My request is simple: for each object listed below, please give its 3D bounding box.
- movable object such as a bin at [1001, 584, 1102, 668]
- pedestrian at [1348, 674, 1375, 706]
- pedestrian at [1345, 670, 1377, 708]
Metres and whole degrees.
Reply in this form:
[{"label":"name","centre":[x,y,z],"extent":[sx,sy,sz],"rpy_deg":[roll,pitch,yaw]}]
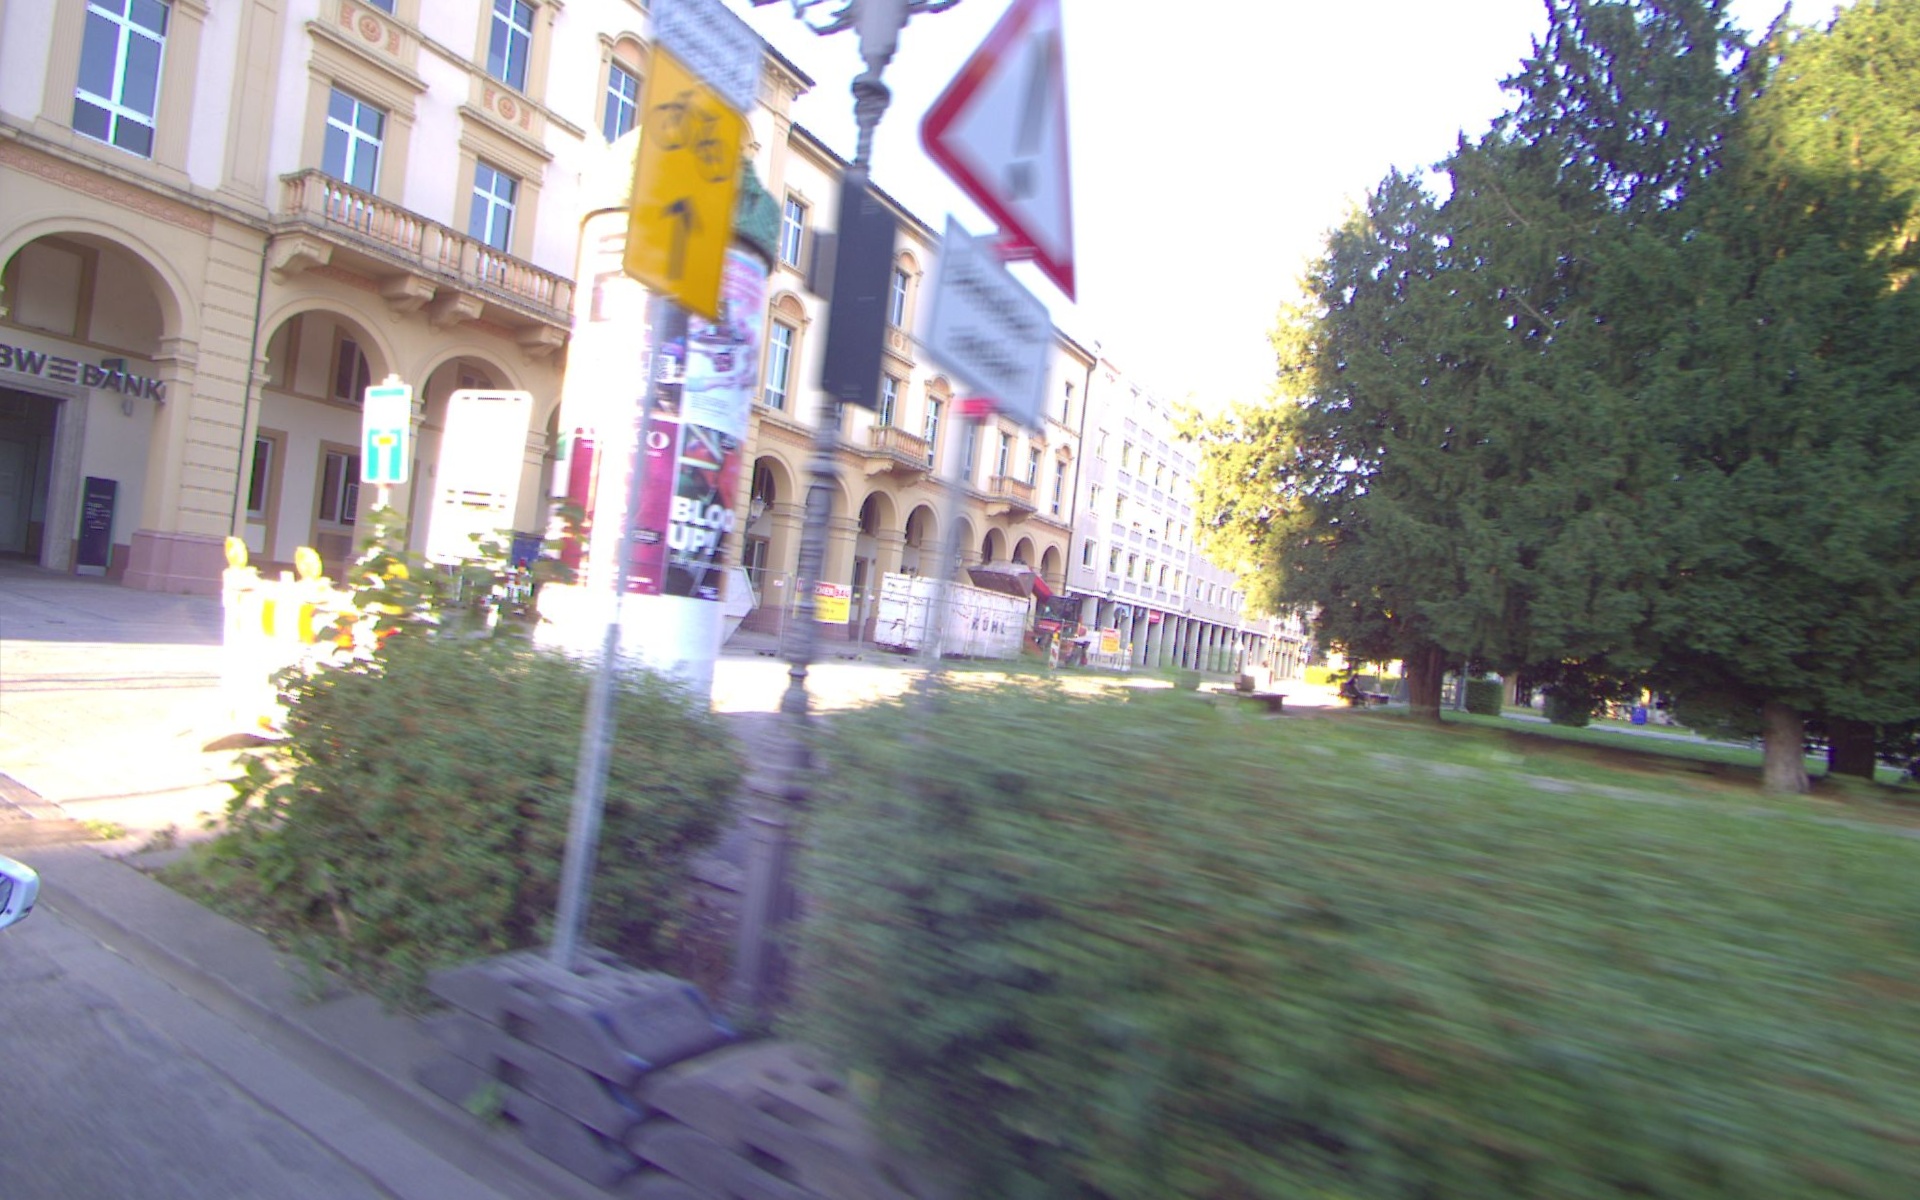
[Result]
[{"label":"movable object such as a bin","centre":[3.898,1.136,41.952],"extent":[1.967,3.045,4.894],"rpy_deg":[7,-1,31]},{"label":"pedestrian","centre":[15.098,3.380,37.817],"extent":[0.819,1.105,0.709],"rpy_deg":[6,0,25]},{"label":"pedestrian","centre":[14.752,3.270,36.981],"extent":[0.910,1.267,0.709],"rpy_deg":[6,0,26]}]
